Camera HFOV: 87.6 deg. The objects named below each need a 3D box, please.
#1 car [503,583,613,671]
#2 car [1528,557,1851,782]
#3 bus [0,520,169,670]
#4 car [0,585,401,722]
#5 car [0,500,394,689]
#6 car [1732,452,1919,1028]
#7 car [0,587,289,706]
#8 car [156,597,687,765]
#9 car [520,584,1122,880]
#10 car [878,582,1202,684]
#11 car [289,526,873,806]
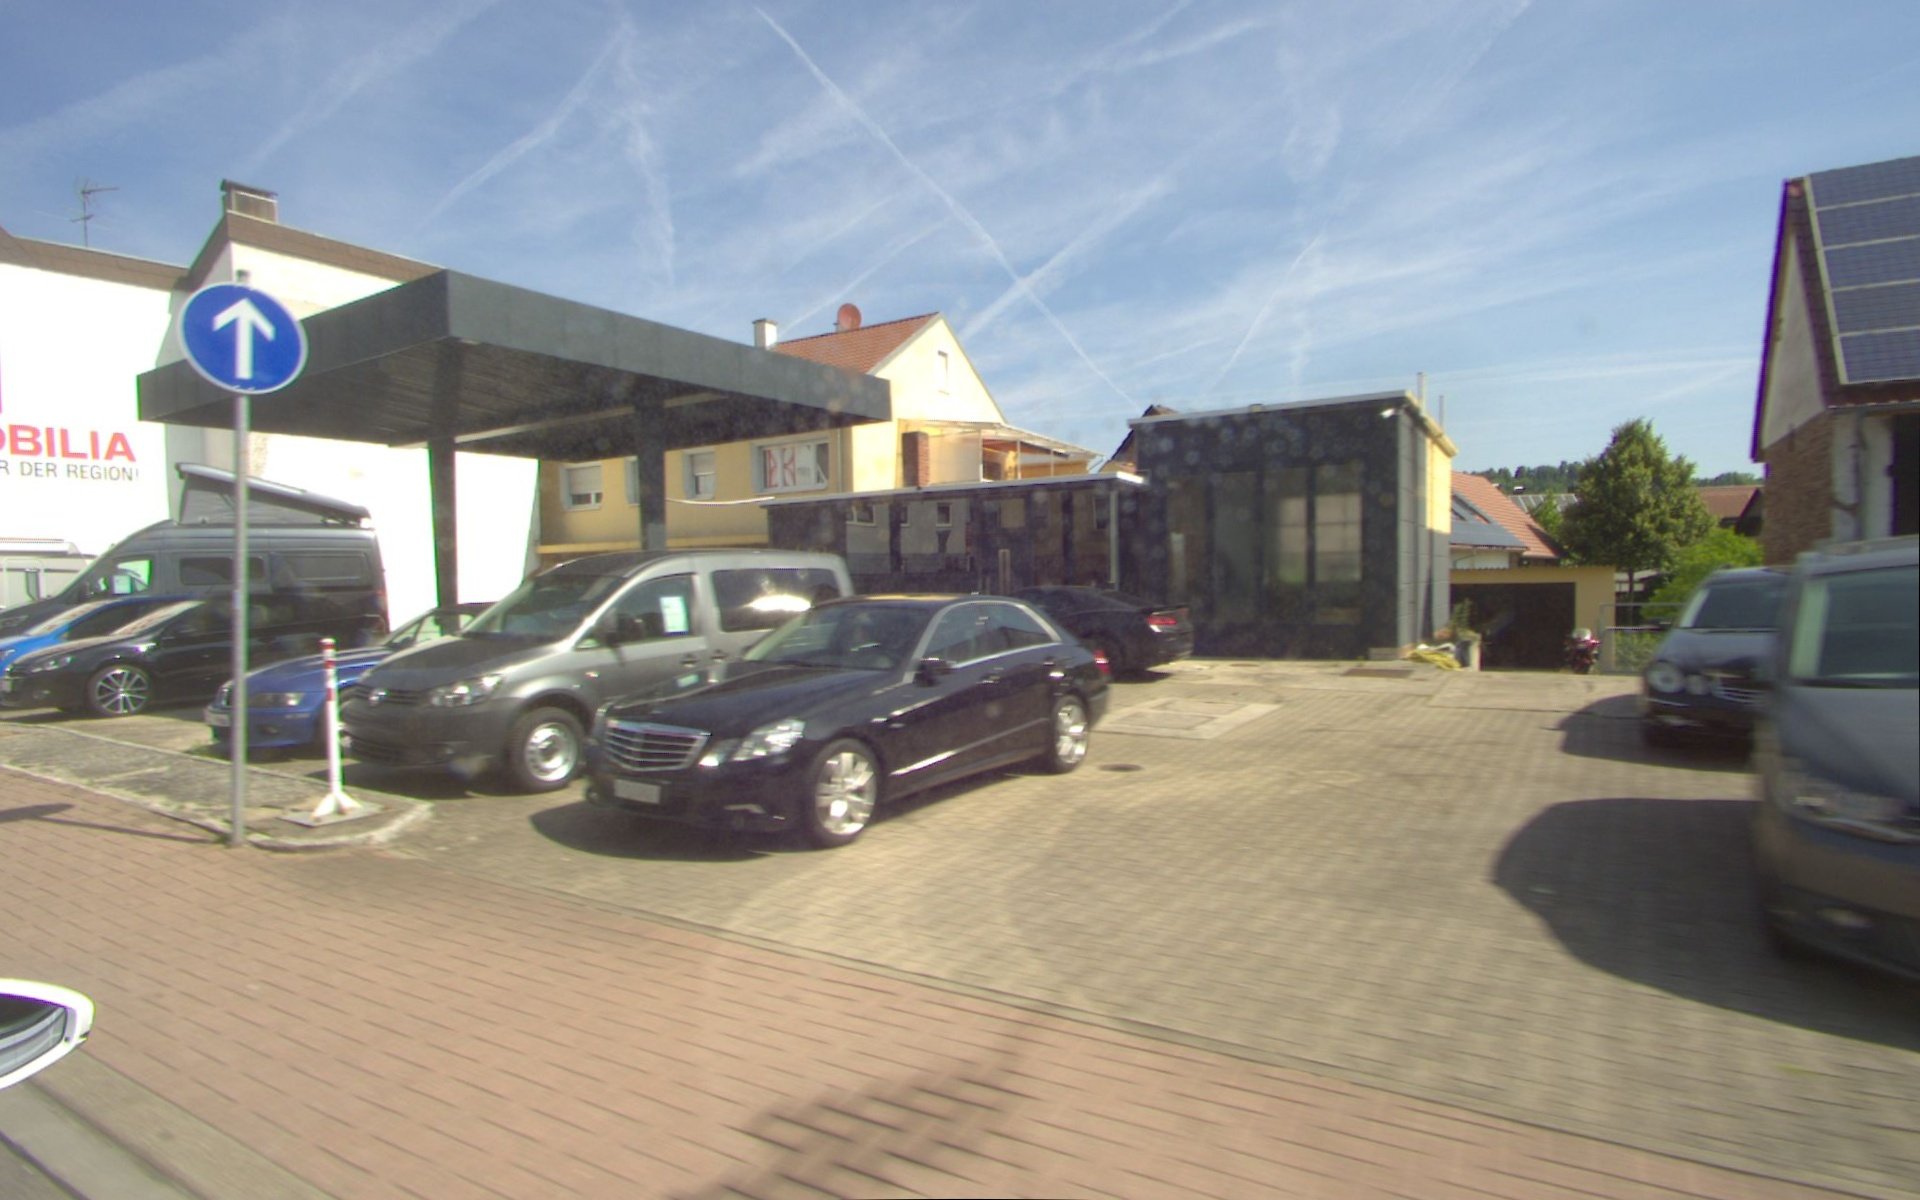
[{"bbox_3d":[-7.734,0.465,19.562,1.697,1.545,3.862,0,0,-18],"label":"car"},{"bbox_3d":[6.931,0.423,9.283,1.966,1.528,4.514,-1,2,42],"label":"car"},{"bbox_3d":[-20.184,-0.046,19.879,2.199,2.945,6.543,-1,2,35],"label":"bus"},{"bbox_3d":[-10.090,0.583,13.472,1.704,1.501,4.147,0,2,35],"label":"car"},{"bbox_3d":[-14.065,-0.149,18.530,5.908,3.027,2.299,-2,2,-39],"label":"car"},{"bbox_3d":[4.589,0.456,4.518,1.716,1.768,4.311,0,-1,38],"label":"car"},{"bbox_3d":[-12.706,0.608,15.268,1.558,1.549,3.793,0,1,30],"label":"car"},{"bbox_3d":[-5.301,0.653,10.513,1.939,1.284,4.524,0,1,35],"label":"car"},{"bbox_3d":[-0.640,0.660,7.568,1.885,1.518,4.621,0,1,35],"label":"car"},{"bbox_3d":[1.175,0.444,15.415,4.676,1.365,1.756,0,1,29],"label":"car"},{"bbox_3d":[-3.011,0.395,9.012,1.939,1.834,4.620,0,1,35],"label":"car"}]
